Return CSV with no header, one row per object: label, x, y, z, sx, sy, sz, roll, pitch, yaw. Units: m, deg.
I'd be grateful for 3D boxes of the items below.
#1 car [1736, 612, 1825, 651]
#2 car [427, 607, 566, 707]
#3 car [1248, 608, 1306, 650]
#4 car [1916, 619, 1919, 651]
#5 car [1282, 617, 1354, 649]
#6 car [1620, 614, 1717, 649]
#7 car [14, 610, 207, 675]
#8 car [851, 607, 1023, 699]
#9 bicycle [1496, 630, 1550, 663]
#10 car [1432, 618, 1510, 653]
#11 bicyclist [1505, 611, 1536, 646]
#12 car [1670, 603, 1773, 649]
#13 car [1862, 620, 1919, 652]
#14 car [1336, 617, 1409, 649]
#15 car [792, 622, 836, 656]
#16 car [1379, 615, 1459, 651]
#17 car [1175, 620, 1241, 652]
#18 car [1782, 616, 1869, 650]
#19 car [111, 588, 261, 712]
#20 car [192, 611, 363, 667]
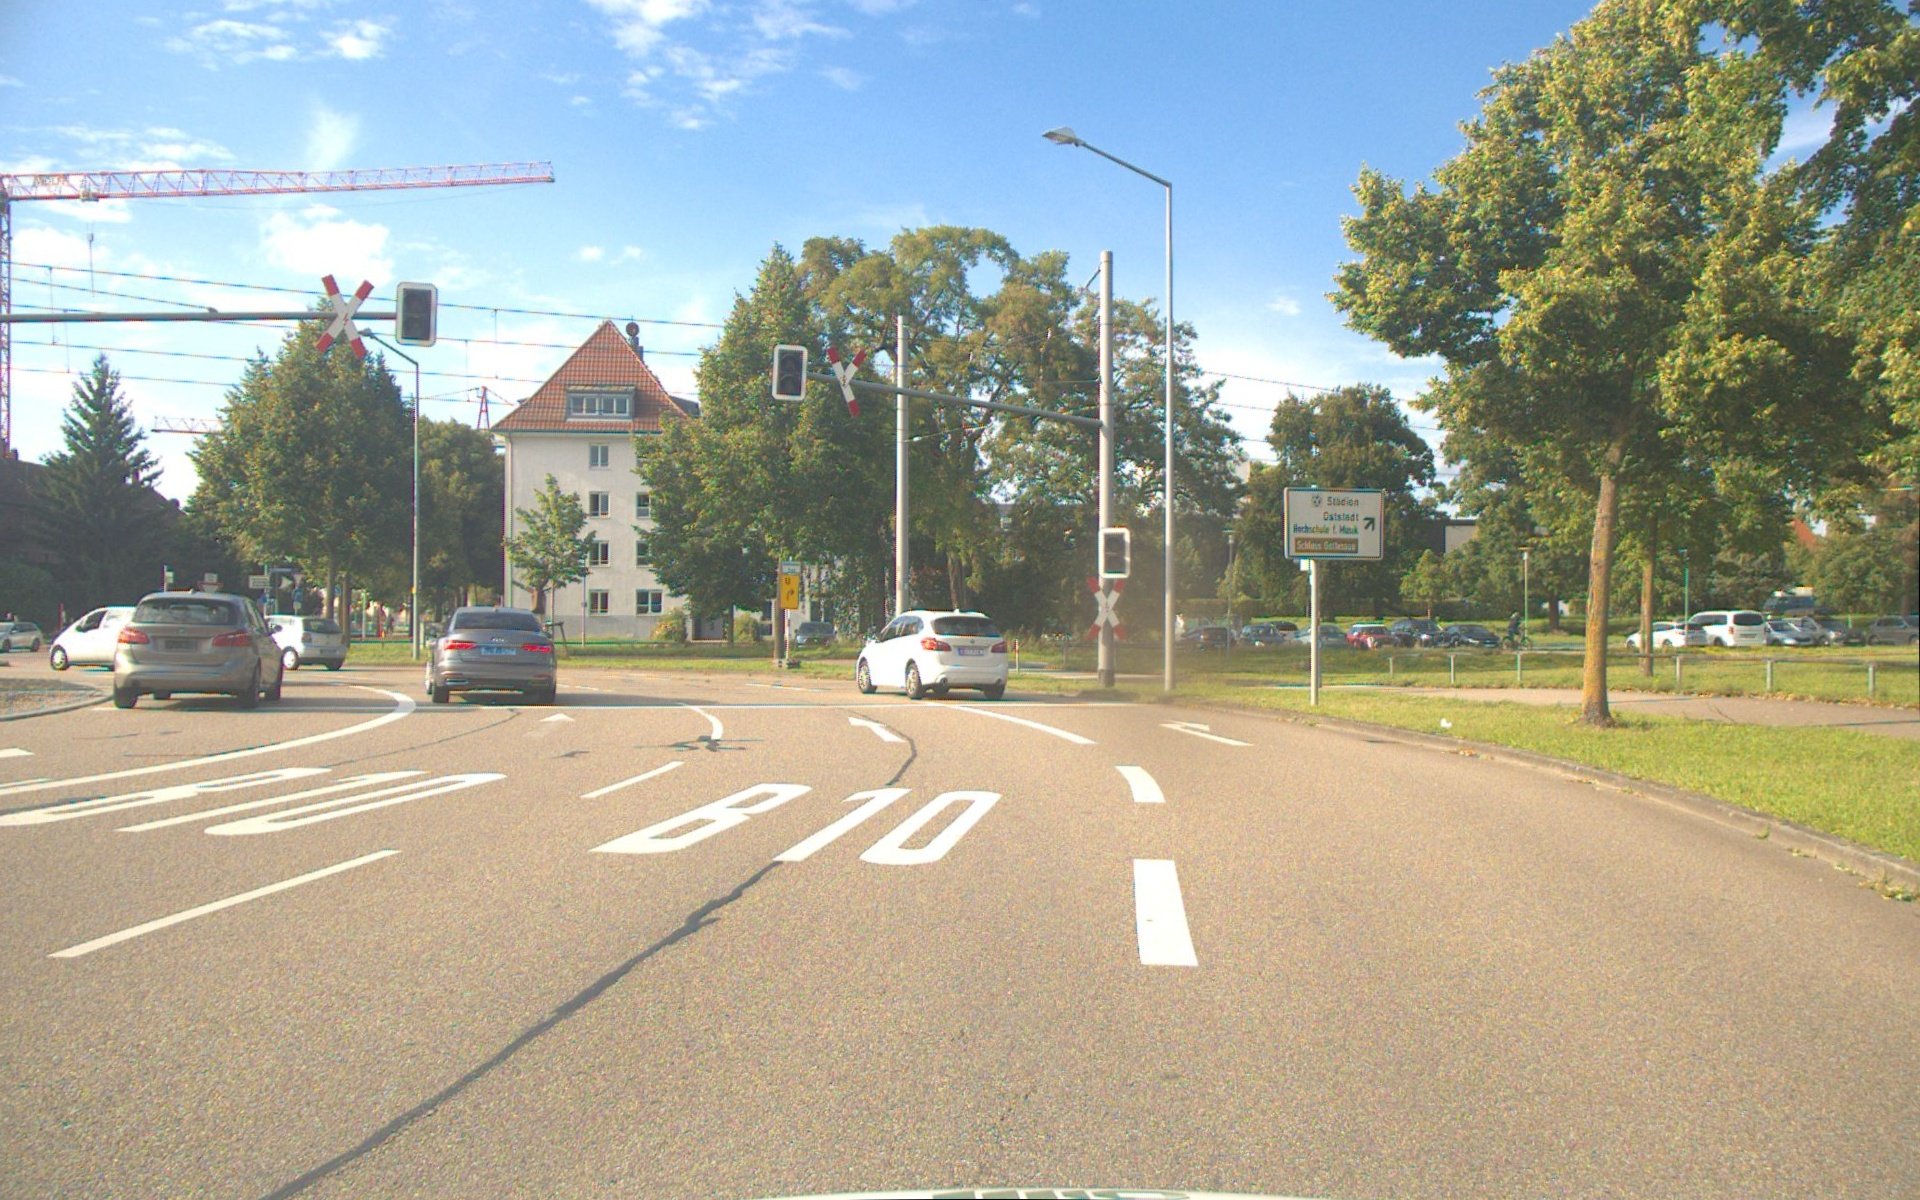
car,38.087,1.456,76.932,2.052,1.703,4.470,0,-1,2
car,-7.569,0.892,26.729,1.823,1.470,4.687,1,-1,-20
car,16.478,1.557,86.102,1.834,2.049,4.806,2,-2,-3
car,47.217,1.631,77.738,1.818,1.531,4.467,0,-1,-2
car,16.034,1.467,74.297,1.819,1.382,4.828,0,-1,-5
car,32.428,1.453,75.805,1.823,1.542,4.454,0,-1,-13
car,-20.937,1.030,40.759,4.350,1.504,1.856,0,-2,23
car,-0.527,0.975,31.194,1.824,1.600,4.426,1,-1,-21
bicycle,22.593,1.861,66.408,2.498,1.244,0.706,0,-1,-35
car,23.140,1.590,75.042,1.819,1.542,4.463,0,-1,-5
bicyclist,22.489,1.142,66.371,0.994,1.379,0.705,0,-1,-35
car,35.106,1.218,76.409,2.263,2.042,5.110,0,-1,-2
car,44.534,1.677,77.661,1.818,1.423,4.467,0,-1,-2
car,18.535,1.463,74.456,1.819,1.386,4.463,0,-1,-5
car,-6.284,1.673,70.990,1.819,1.405,4.510,0,-1,-5
car,20.632,1.474,74.515,1.819,1.542,4.939,0,-1,-5
car,10.943,1.574,73.205,1.819,1.383,4.728,0,-1,-5
car,40.253,1.535,77.021,1.988,1.542,4.113,0,-1,2
car,-10.913,0.693,23.535,1.744,1.600,4.038,1,-2,-23
car,-18.574,1.043,44.986,4.352,1.451,1.855,0,-2,26
